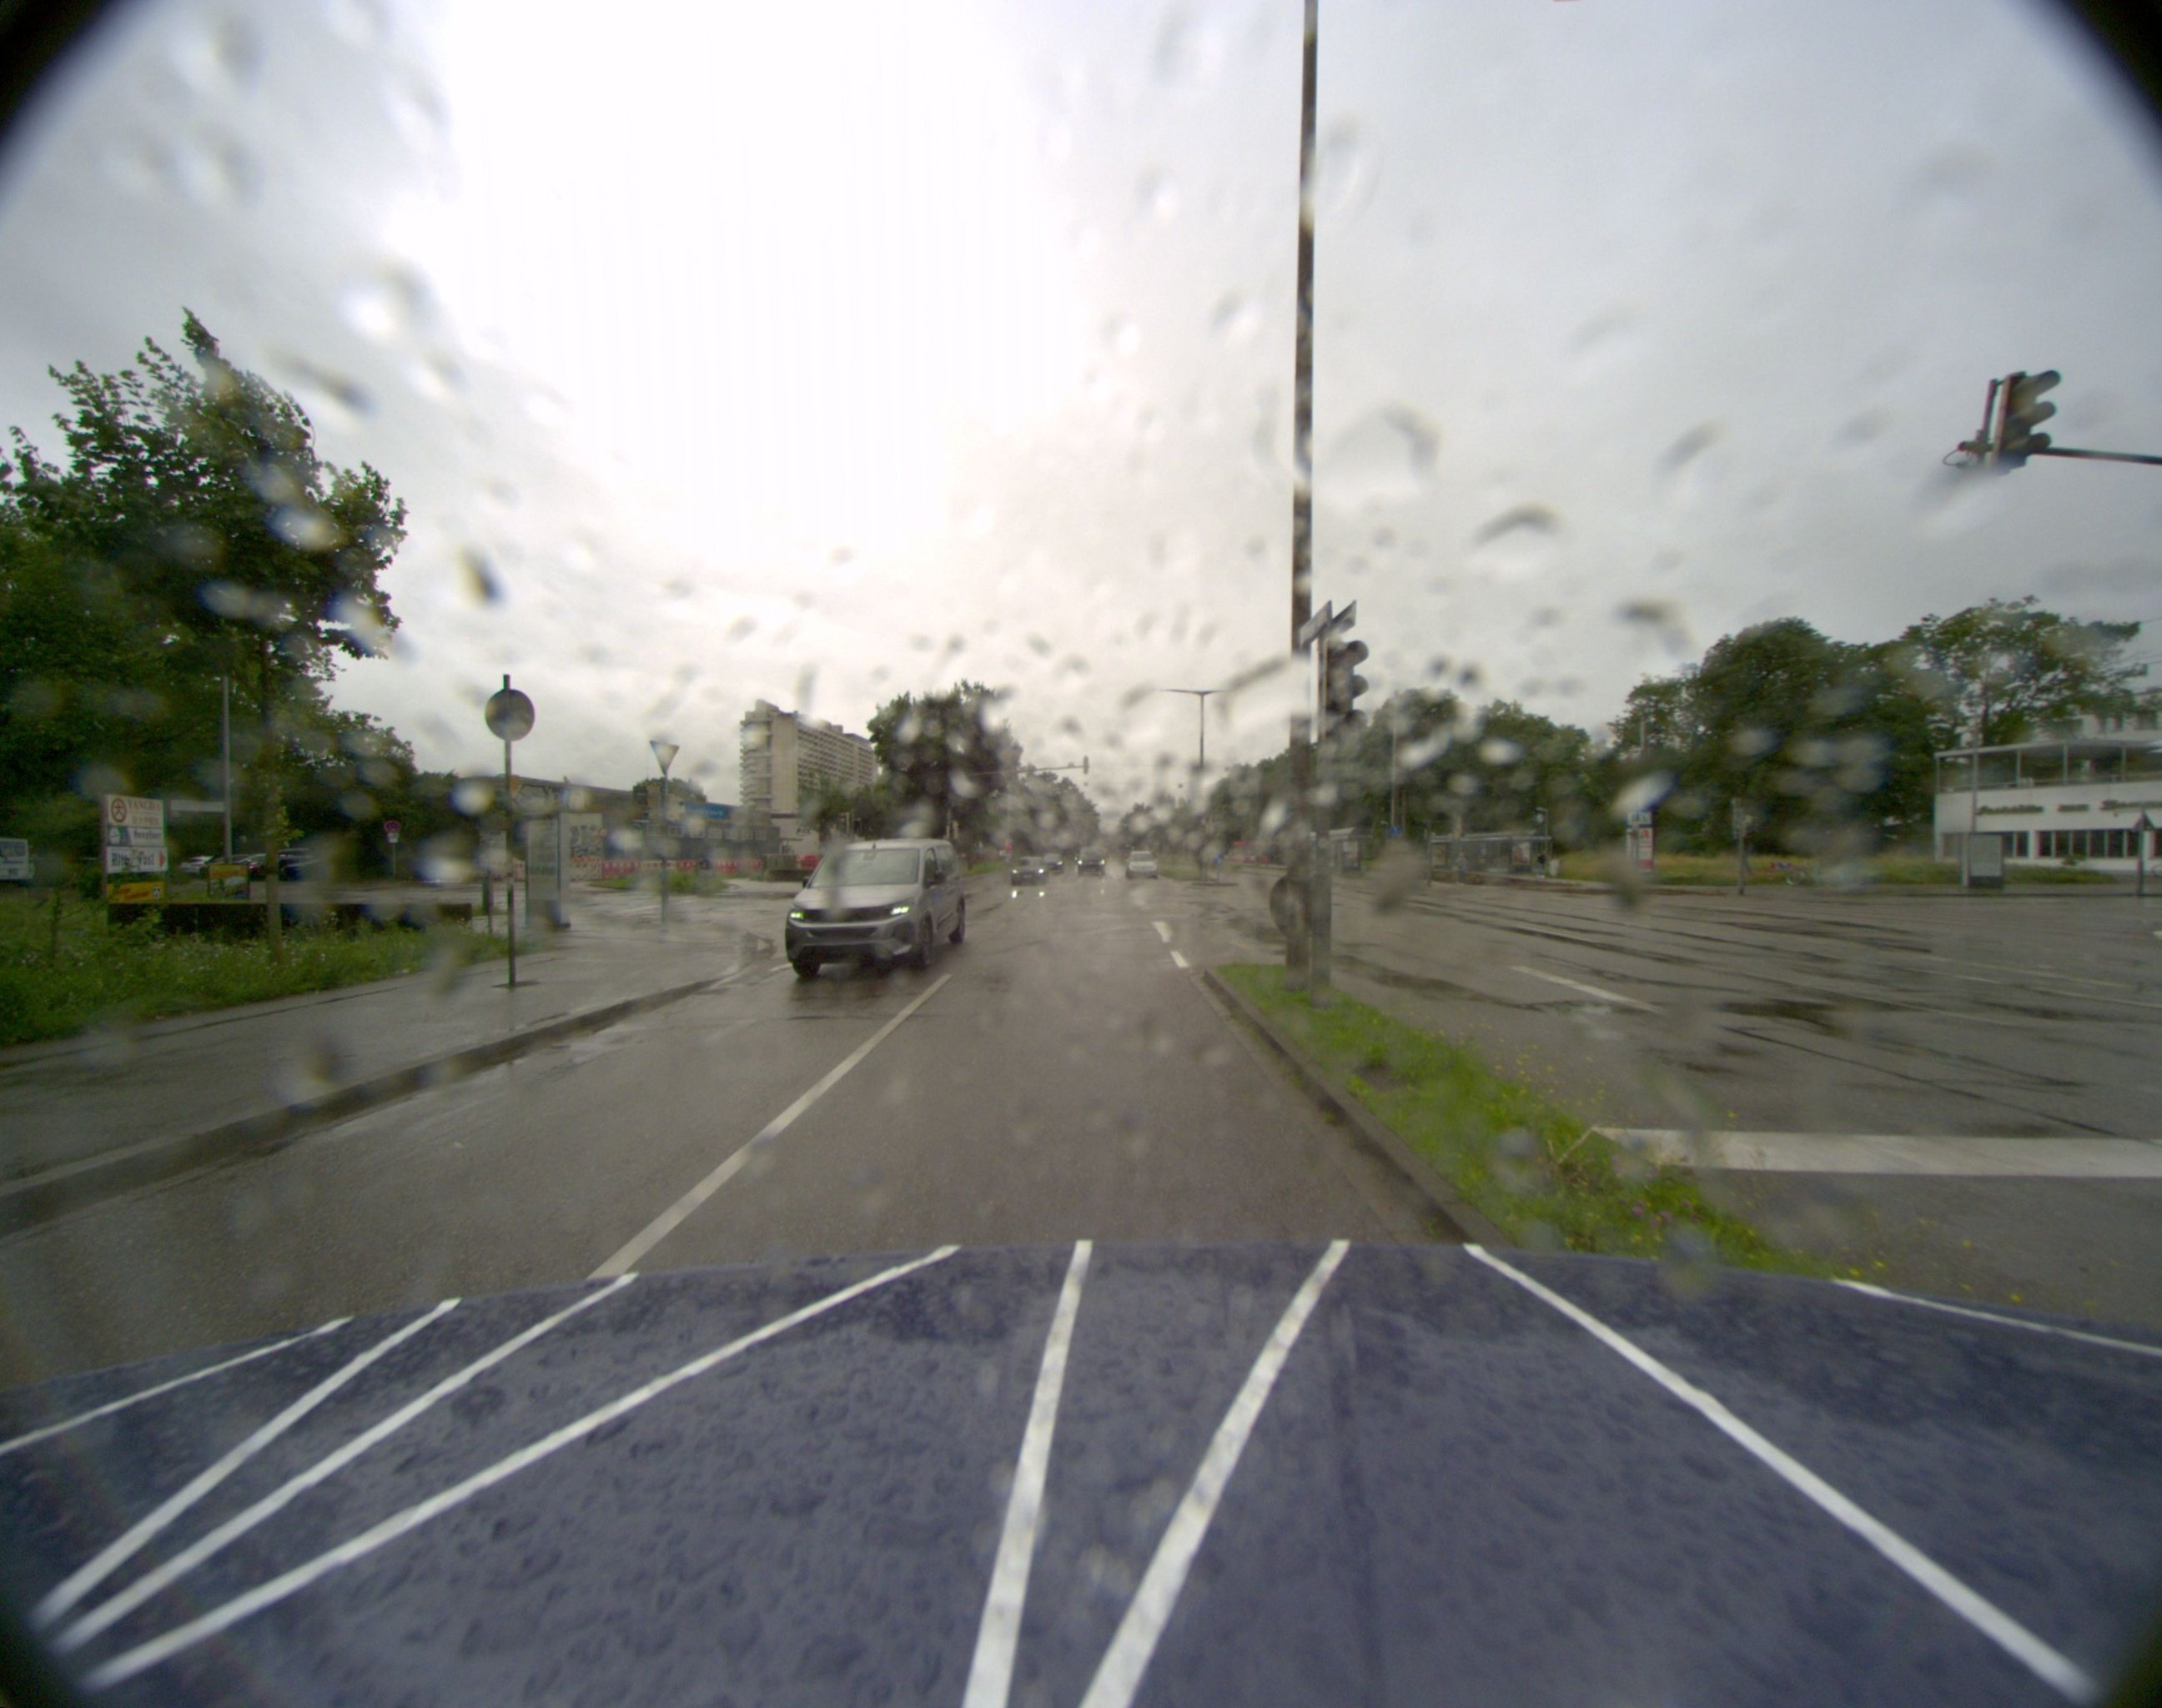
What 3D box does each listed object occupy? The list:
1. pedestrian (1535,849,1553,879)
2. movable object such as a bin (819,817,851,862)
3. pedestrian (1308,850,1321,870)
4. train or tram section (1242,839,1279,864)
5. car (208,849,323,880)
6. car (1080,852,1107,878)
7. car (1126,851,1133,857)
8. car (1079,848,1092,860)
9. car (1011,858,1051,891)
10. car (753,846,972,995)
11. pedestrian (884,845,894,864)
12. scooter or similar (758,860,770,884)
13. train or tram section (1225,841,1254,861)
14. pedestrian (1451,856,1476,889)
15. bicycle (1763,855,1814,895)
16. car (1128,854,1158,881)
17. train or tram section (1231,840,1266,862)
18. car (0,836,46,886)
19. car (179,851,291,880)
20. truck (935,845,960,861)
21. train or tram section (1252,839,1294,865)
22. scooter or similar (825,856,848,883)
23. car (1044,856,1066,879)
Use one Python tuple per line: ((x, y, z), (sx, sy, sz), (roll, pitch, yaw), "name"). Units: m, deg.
((28.182, 0.603, 46.279), (0.631, 1.782, 0.681), (-2, 1, 1), "pedestrian")
((-24.867, -1.454, 76.871), (1.557, 4.401, 3.909), (-2, 1, 3), "movable object such as a bin")
((18.838, 0.509, 61.259), (0.806, 1.588, 0.929), (0, 1, 4), "pedestrian")
((25.981, -0.392, 110.538), (3.541, 3.370, 9.278), (0, 1, 2), "train or tram section")
((-45.682, 0.559, 42.655), (1.698, 1.501, 4.006), (-1, 1, 27), "car")
((0.946, 0.729, 54.259), (1.812, 1.683, 3.776), (-2, 1, 2), "car")
((12.598, -0.071, 197.706), (1.684, 1.353, 4.251), (2, 0, 0), "car")
((0.673, -0.012, 105.678), (1.726, 1.643, 3.999), (-2, 1, 1), "car")
((-2.728, 1.116, 42.371), (1.858, 1.583, 3.999), (-2, 1, 1), "car")
((-3.032, 0.805, 11.702), (1.998, 1.785, 4.561), (-1, 1, 0), "car")
((-18.889, 0.051, 74.754), (0.580, 1.885, 0.876), (-2, 1, 1), "pedestrian")
((-15.478, 0.876, 37.143), (0.286, 1.169, 0.560), (0, 1, 8), "scooter or similar")
((26.593, -0.517, 127.980), (3.541, 3.392, 7.903), (0, 1, 2), "train or tram section")
((19.727, 0.925, 39.171), (0.783, 1.648, 0.803), (-2, 1, -16), "pedestrian")
((31.394, 0.912, 33.749), (0.641, 1.751, 1.735), (0, 1, 2), "bicycle")
((3.783, 0.778, 46.810), (1.740, 1.535, 4.014), (-1, 0, 4), "car")
((26.305, -0.461, 119.671), (3.541, 3.381, 10.261), (0, 1, 2), "train or tram section")
((-43.792, 0.325, 30.319), (4.185, 1.953, 1.928), (-1, 1, 22), "car")
((-49.390, 0.652, 44.455), (1.698, 1.501, 4.006), (-1, 1, 27), "car")
((-24.599, -0.230, 140.090), (2.811, 2.882, 8.749), (-2, 1, 1), "truck")
((25.683, -0.335, 101.966), (3.541, 3.370, 9.278), (0, 1, 2), "train or tram section")
((-11.717, 0.738, 36.438), (0.959, 1.223, 0.322), (3, 1, 6), "scooter or similar")
((-2.104, 1.067, 61.798), (1.651, 1.652, 3.776), (-2, 1, -1), "car")
